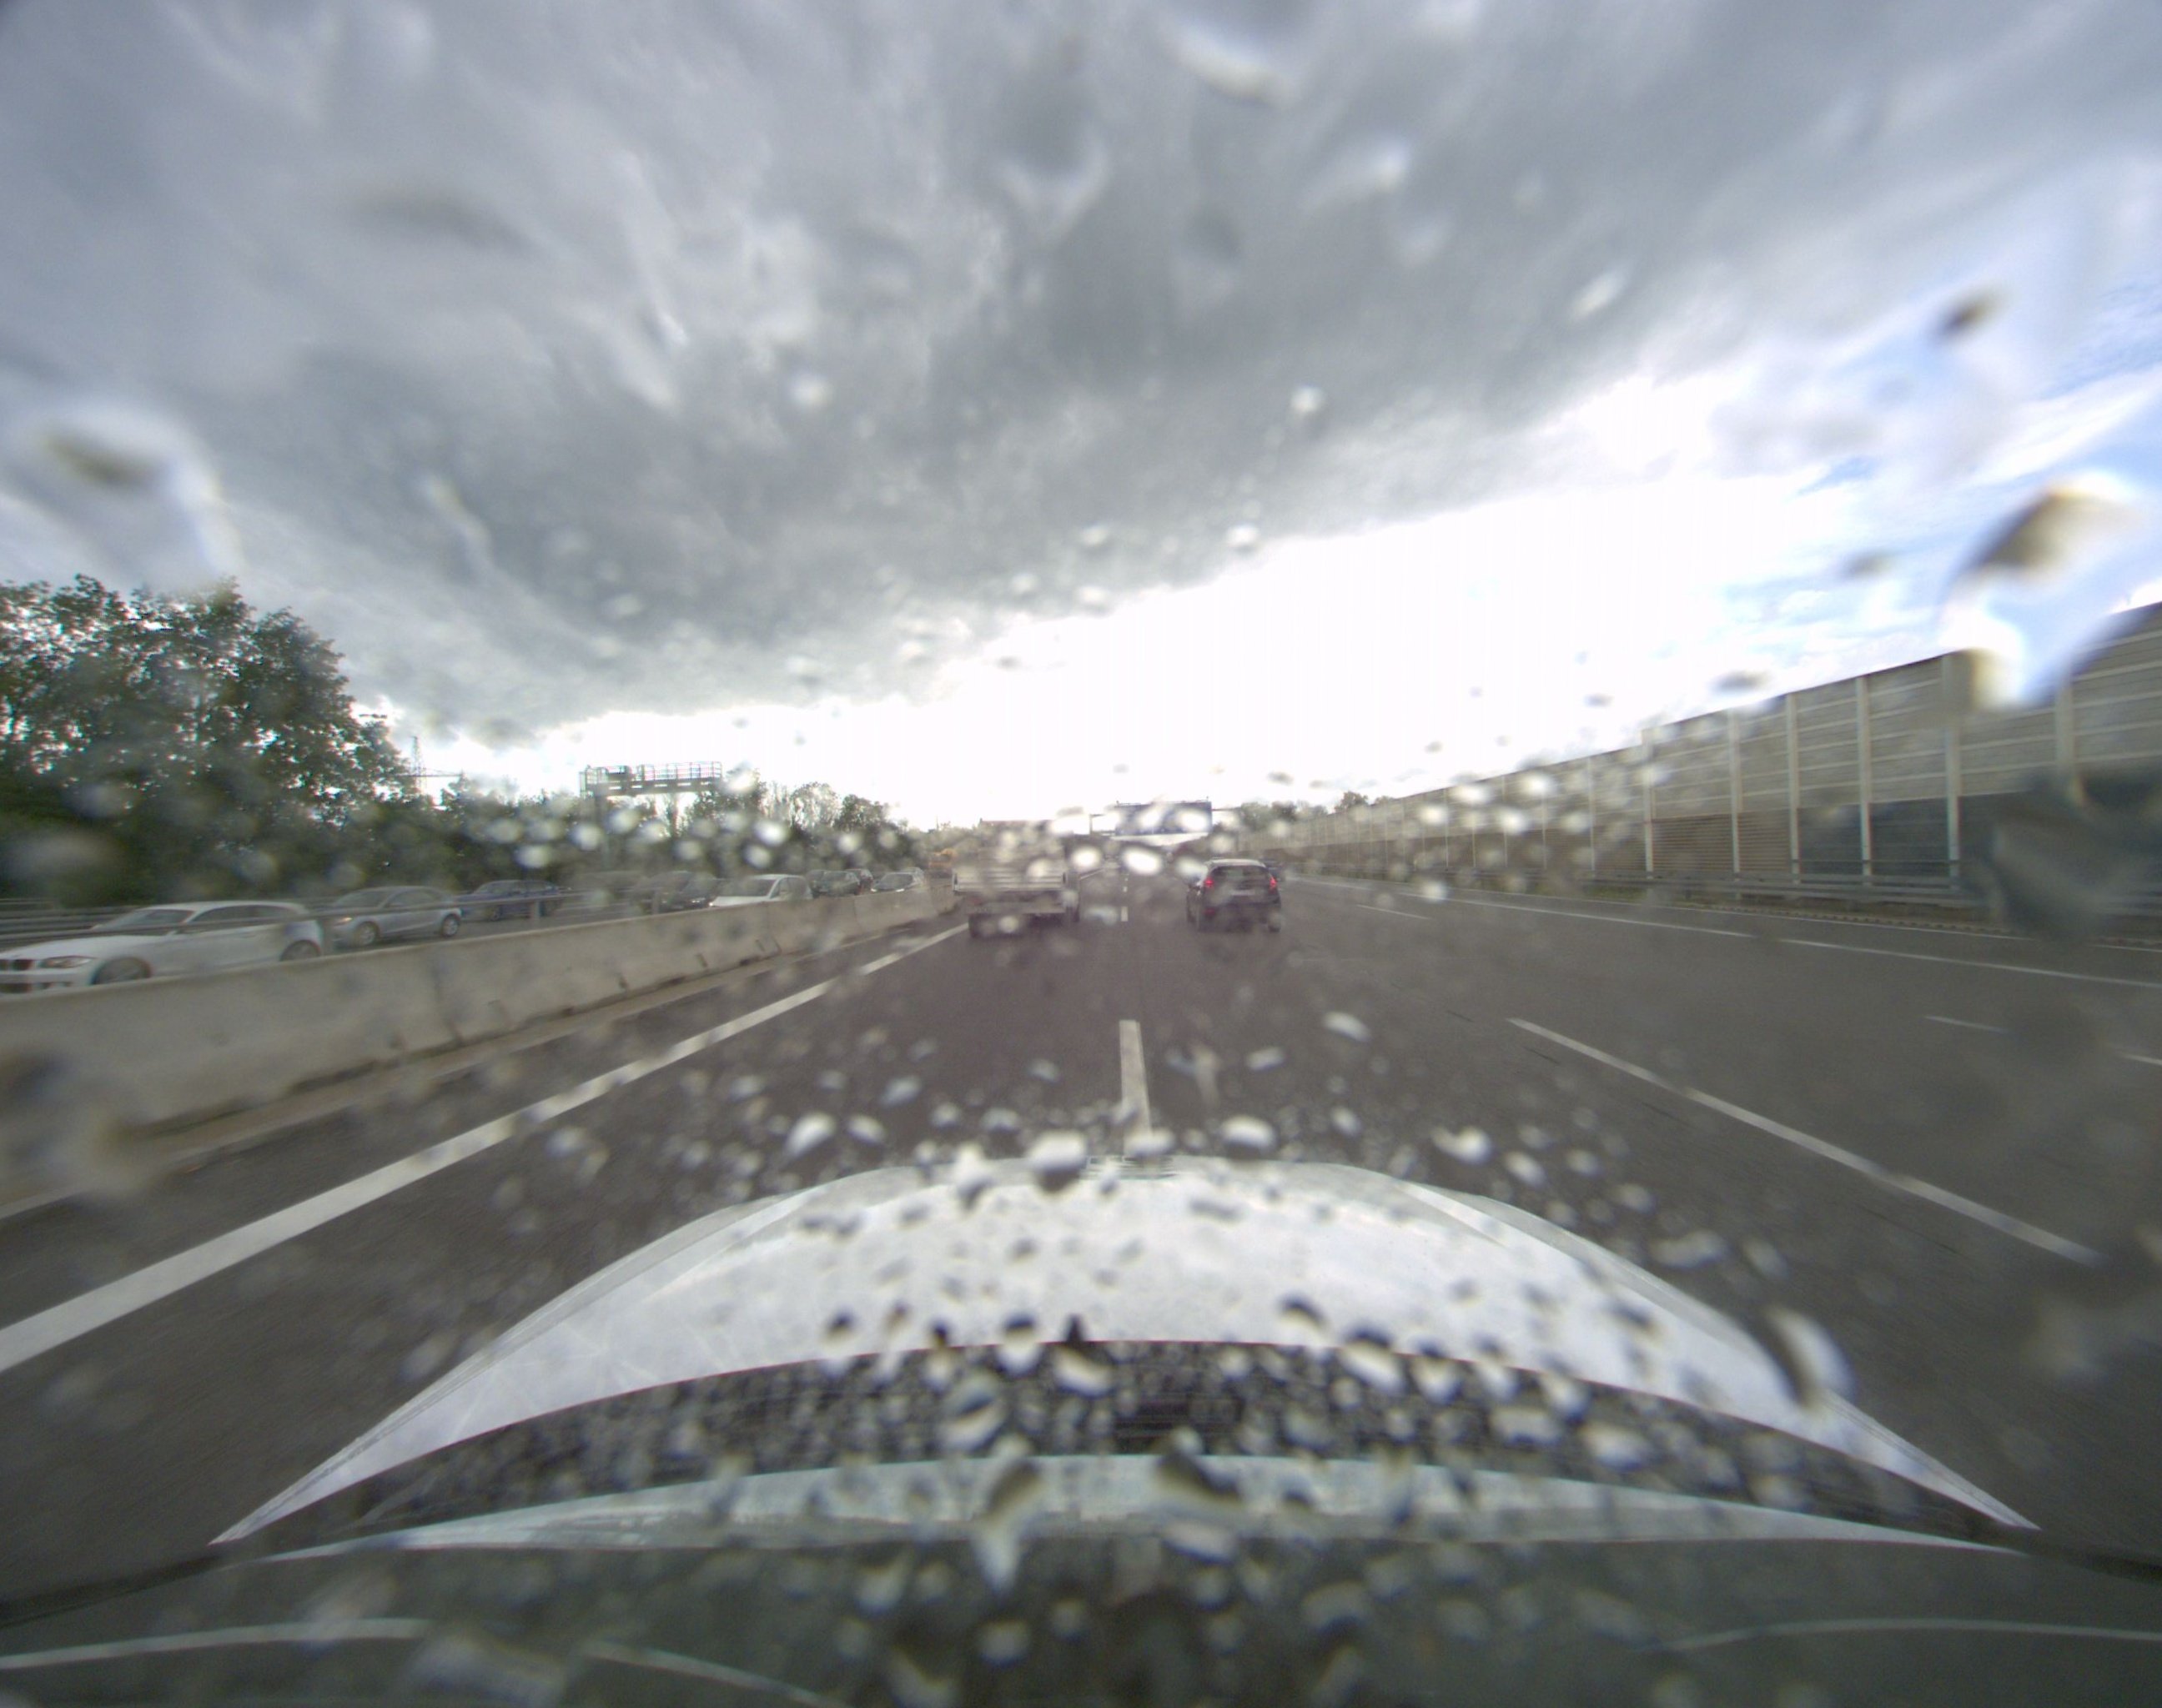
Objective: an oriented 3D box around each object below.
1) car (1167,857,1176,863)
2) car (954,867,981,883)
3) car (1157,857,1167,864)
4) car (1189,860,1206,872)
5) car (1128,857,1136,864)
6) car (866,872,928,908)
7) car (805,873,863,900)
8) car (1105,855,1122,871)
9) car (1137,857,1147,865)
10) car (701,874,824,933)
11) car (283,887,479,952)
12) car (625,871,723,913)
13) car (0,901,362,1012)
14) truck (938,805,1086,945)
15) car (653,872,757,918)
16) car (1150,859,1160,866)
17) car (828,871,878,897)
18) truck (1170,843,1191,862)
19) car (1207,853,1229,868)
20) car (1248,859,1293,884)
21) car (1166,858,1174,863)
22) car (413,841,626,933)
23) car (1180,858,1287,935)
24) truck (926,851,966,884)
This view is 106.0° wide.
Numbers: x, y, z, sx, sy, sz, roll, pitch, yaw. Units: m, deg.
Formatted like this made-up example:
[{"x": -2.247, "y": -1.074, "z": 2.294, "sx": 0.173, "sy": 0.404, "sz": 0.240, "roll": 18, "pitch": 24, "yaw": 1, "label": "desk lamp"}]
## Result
[{"x": 24.242, "y": 1.603, "z": 217.523, "sx": 1.960, "sy": 1.561, "sz": 4.434, "roll": -2, "pitch": -1, "yaw": 2, "label": "car"}, {"x": -11.270, "y": 2.069, "z": 81.043, "sx": 1.715, "sy": 1.428, "sz": 4.523, "roll": 0, "pitch": -1, "yaw": 4, "label": "car"}, {"x": 18.015, "y": 1.422, "z": 181.823, "sx": 1.960, "sy": 1.561, "sz": 4.434, "roll": -2, "pitch": -1, "yaw": 2, "label": "car"}, {"x": 16.986, "y": 1.749, "z": 118.672, "sx": 1.875, "sy": 1.561, "sz": 4.435, "roll": -2, "pitch": -1, "yaw": 2, "label": "car"}, {"x": 13.211, "y": 1.705, "z": 211.386, "sx": 1.960, "sy": 1.561, "sz": 4.435, "roll": -2, "pitch": -1, "yaw": 2, "label": "car"}, {"x": -9.115, "y": 1.757, "z": 40.811, "sx": 1.716, "sy": 1.646, "sz": 4.996, "roll": 0, "pitch": -1, "yaw": 3, "label": "car"}, {"x": -14.077, "y": 1.823, "z": 46.624, "sx": 1.715, "sy": 1.418, "sz": 4.205, "roll": -2, "pitch": -1, "yaw": 4, "label": "car"}, {"x": 3.524, "y": 0.912, "z": 88.682, "sx": 1.710, "sy": 1.624, "sz": 4.283, "roll": -1, "pitch": 0, "yaw": 4, "label": "car"}, {"x": 12.424, "y": 1.390, "z": 165.806, "sx": 1.960, "sy": 1.561, "sz": 4.435, "roll": -2, "pitch": -1, "yaw": 2, "label": "car"}, {"x": -9.954, "y": 1.480, "z": 25.936, "sx": 1.716, "sy": 1.646, "sz": 5.001, "roll": 0, "pitch": -1, "yaw": 3, "label": "car"}, {"x": -18.653, "y": 1.697, "z": 21.969, "sx": 1.716, "sy": 1.478, "sz": 3.963, "roll": 0, "pitch": -1, "yaw": 3, "label": "car"}, {"x": -17.538, "y": 1.601, "z": 35.351, "sx": 1.715, "sy": 1.646, "sz": 4.523, "roll": 0, "pitch": -1, "yaw": 4, "label": "car"}, {"x": -15.511, "y": 1.627, "z": 14.199, "sx": 1.715, "sy": 1.415, "sz": 4.523, "roll": 0, "pitch": -1, "yaw": 4, "label": "car"}, {"x": -1.198, "y": 0.356, "z": 18.000, "sx": 2.297, "sy": 2.439, "sz": 7.153, "roll": -1, "pitch": 0, "yaw": 3, "label": "truck"}, {"x": -14.826, "y": 1.565, "z": 32.404, "sx": 1.715, "sy": 1.646, "sz": 4.525, "roll": 0, "pitch": -1, "yaw": 5, "label": "car"}, {"x": 18.551, "y": 2.189, "z": 204.488, "sx": 1.961, "sy": 1.561, "sz": 4.433, "roll": -2, "pitch": -1, "yaw": 1, "label": "car"}, {"x": -16.012, "y": 2.079, "z": 57.512, "sx": 1.715, "sy": 1.646, "sz": 5.241, "roll": 0, "pitch": -1, "yaw": 4, "label": "car"}, {"x": 19.671, "y": -0.288, "z": 162.111, "sx": 3.140, "sy": 3.601, "sz": 12.705, "roll": 0, "pitch": 0, "yaw": 2, "label": "truck"}, {"x": 14.684, "y": 0.684, "z": 87.364, "sx": 1.874, "sy": 1.542, "sz": 4.439, "roll": -2, "pitch": -1, "yaw": 5, "label": "car"}, {"x": 11.718, "y": 1.058, "z": 50.641, "sx": 1.942, "sy": 1.418, "sz": 4.235, "roll": -1, "pitch": -1, "yaw": 3, "label": "car"}, {"x": 26.447, "y": 1.926, "z": 241.635, "sx": 1.960, "sy": 1.561, "sz": 4.434, "roll": -2, "pitch": -1, "yaw": 2, "label": "car"}, {"x": -22.013, "y": 1.201, "z": 32.660, "sx": 2.717, "sy": 3.239, "sz": 7.943, "roll": 0, "pitch": -1, "yaw": 2, "label": "car"}, {"x": 3.173, "y": 0.816, "z": 17.670, "sx": 1.710, "sy": 1.417, "sz": 4.281, "roll": -1, "pitch": 0, "yaw": 3, "label": "car"}, {"x": -17.337, "y": 1.746, "z": 105.076, "sx": 2.902, "sy": 4.014, "sz": 9.592, "roll": -1, "pitch": -1, "yaw": 4, "label": "truck"}]
